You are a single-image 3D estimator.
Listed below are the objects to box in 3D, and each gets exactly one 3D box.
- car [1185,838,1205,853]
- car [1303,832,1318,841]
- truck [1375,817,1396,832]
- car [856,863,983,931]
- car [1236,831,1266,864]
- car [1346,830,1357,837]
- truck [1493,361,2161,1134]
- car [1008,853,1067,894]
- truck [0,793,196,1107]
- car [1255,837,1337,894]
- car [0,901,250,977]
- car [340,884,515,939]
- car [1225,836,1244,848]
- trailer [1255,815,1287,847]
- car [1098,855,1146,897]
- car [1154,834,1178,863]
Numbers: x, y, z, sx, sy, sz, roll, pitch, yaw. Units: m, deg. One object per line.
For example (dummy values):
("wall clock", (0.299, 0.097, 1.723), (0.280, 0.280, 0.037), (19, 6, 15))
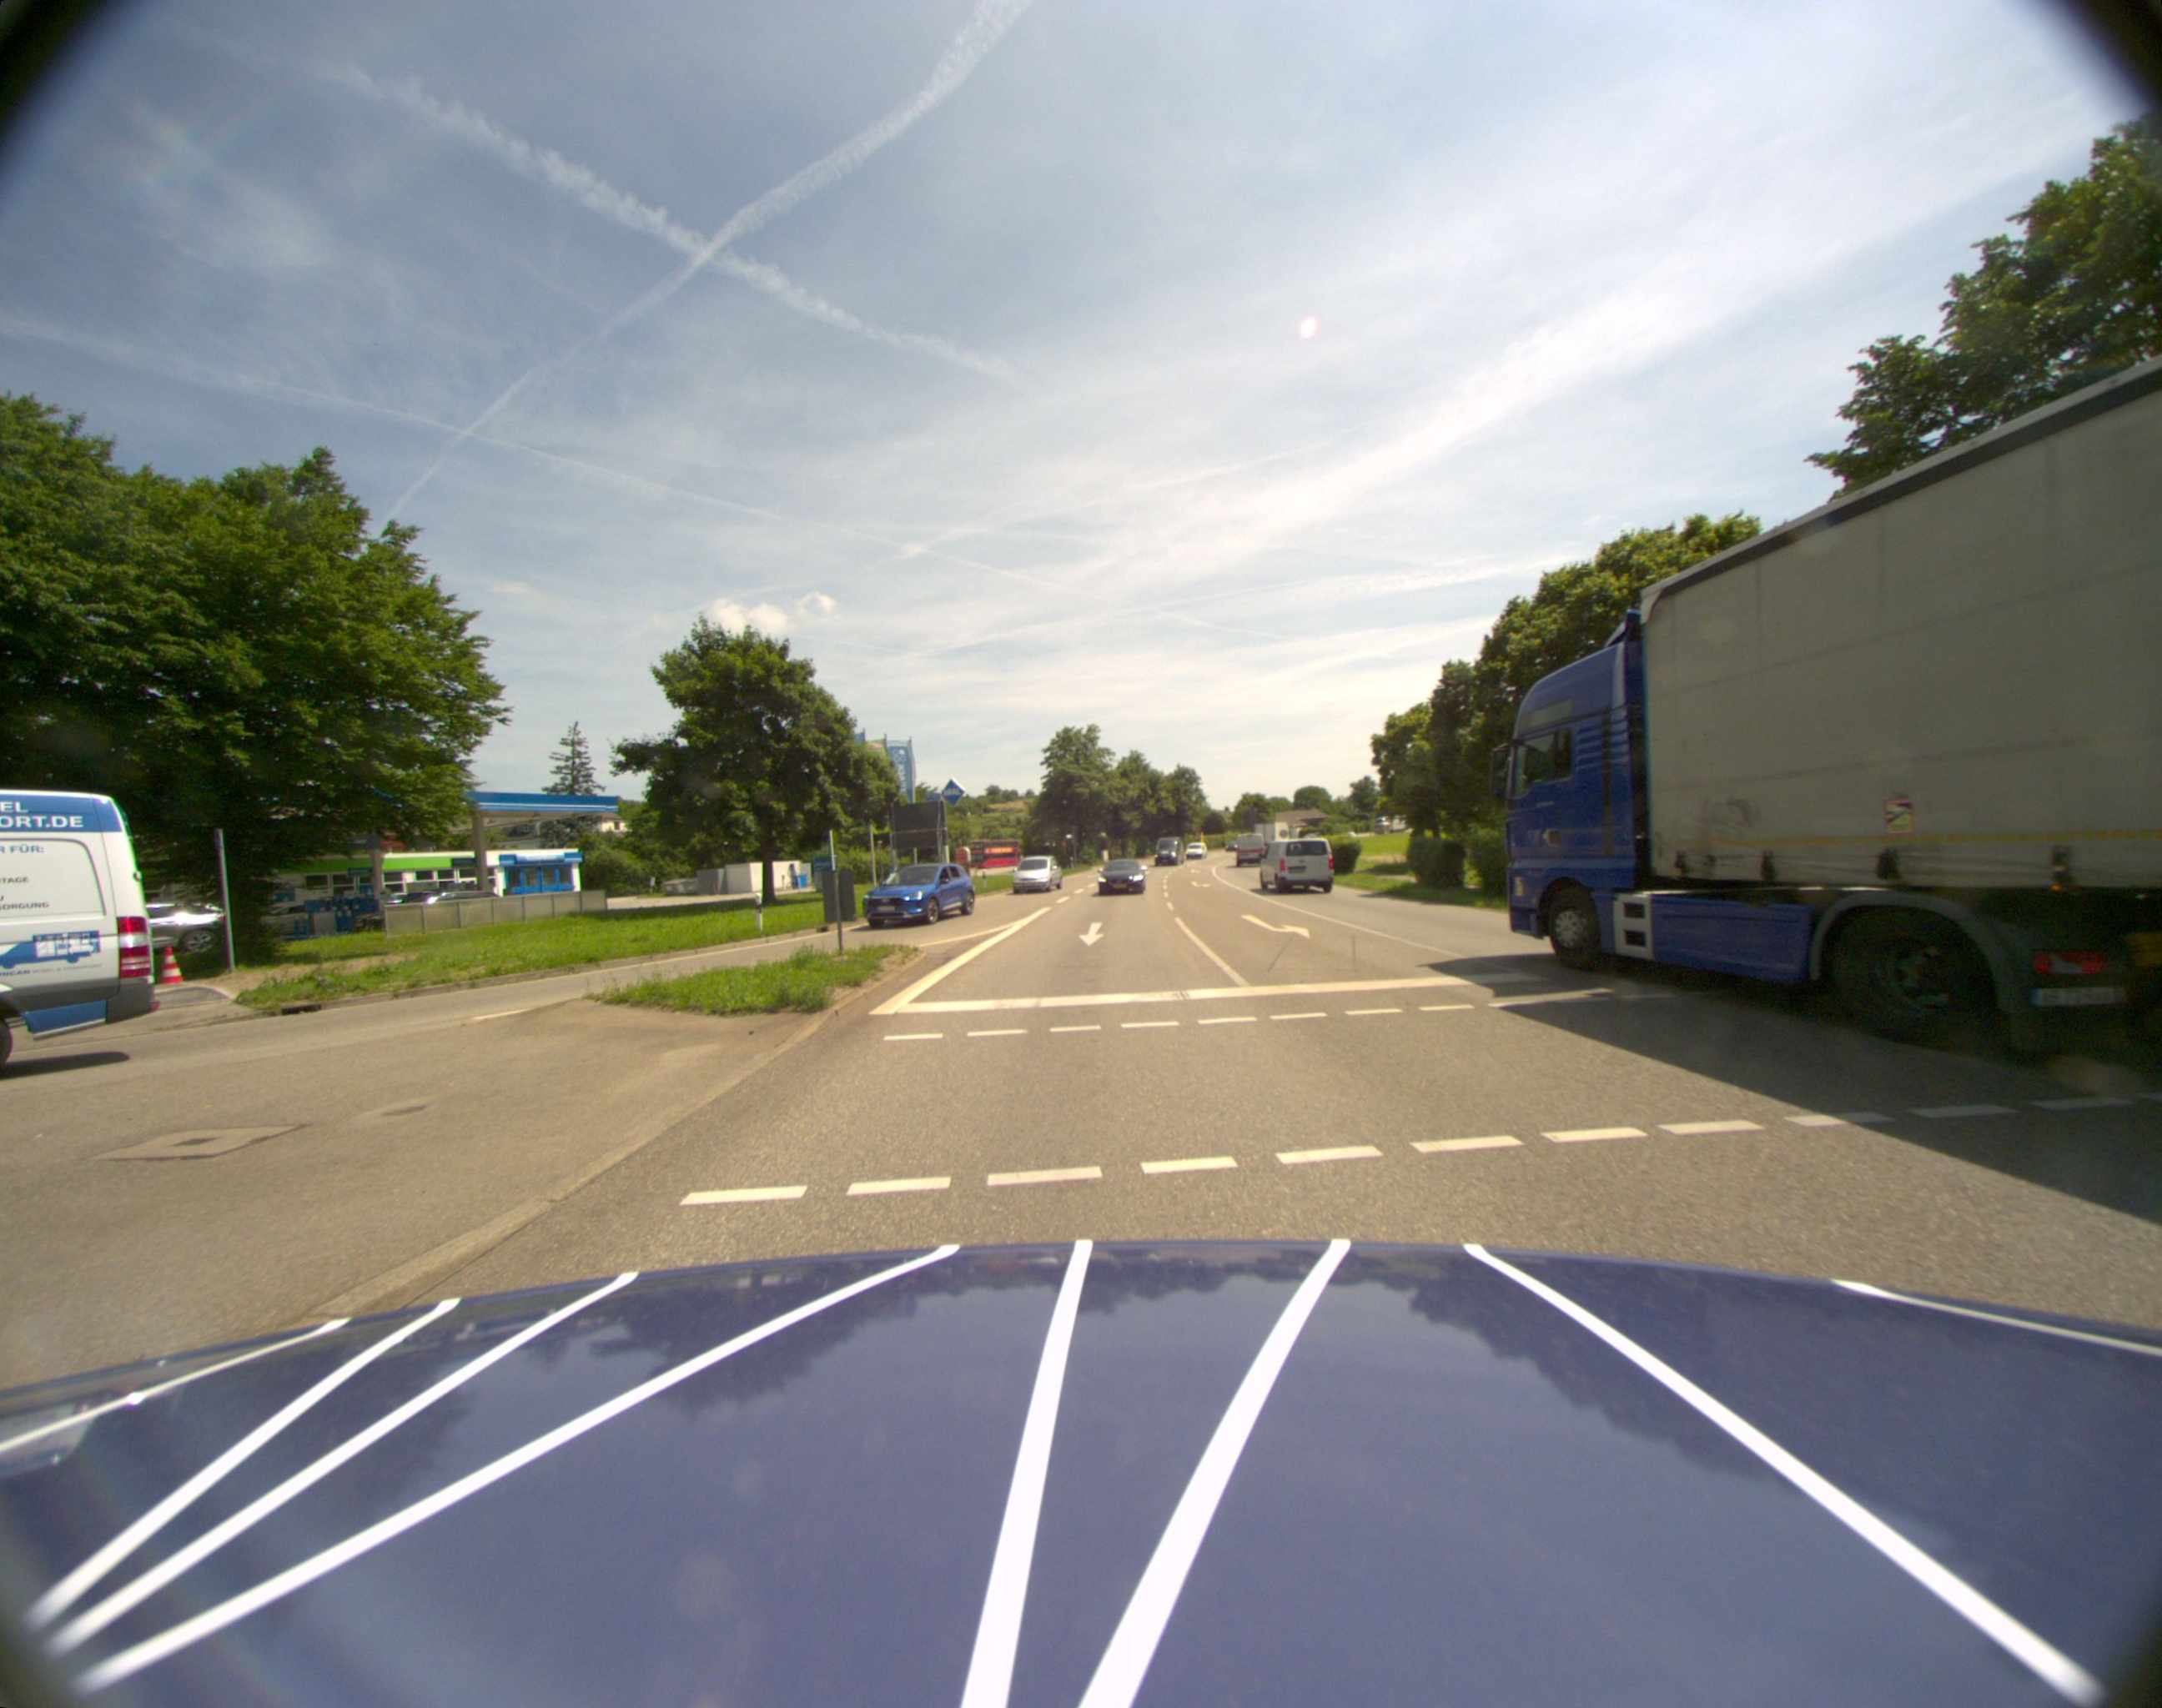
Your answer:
("car", (12.900, -0.983, 85.717), (1.781, 1.484, 4.160), (-2, 2, 13))
("car", (48.809, -3.793, 161.697), (1.806, 1.722, 4.008), (-3, 0, 34))
("truck", (75.101, -7.353, 187.351), (2.970, 3.550, 6.910), (-1, 2, 38))
("car", (-4.520, 1.167, 21.987), (1.781, 1.549, 4.391), (-3, 1, 13))
("car", (13.420, -0.502, 60.378), (2.054, 2.438, 5.272), (-1, 0, 10))
("car", (58.969, -4.469, 165.705), (1.617, 1.454, 3.476), (-2, 2, 32))
("truck", (6.884, -0.560, 6.918), (2.573, 4.006, 6.560), (-2, 0, 0))
("car", (-2.004, 0.873, 36.639), (1.864, 1.682, 4.528), (-2, 1, 9))
("truck", (-11.336, 0.949, 5.626), (2.068, 2.720, 5.954), (-5, -1, 35))
("car", (7.804, 0.366, 28.077), (1.875, 1.875, 4.952), (-2, 1, 4))
("car", (-28.768, 2.434, 22.646), (2.034, 1.594, 4.948), (-2, 2, 28))
("car", (-25.225, 2.157, 29.542), (1.995, 1.612, 4.637), (-2, 2, 28))
("car", (23.000, -1.796, 113.877), (1.806, 1.722, 4.007), (-3, 0, 26))
("trailer", (25.751, -3.105, 102.480), (2.780, 4.079, 11.675), (0, 1, 21))
("car", (1.654, 0.861, 31.582), (1.783, 1.484, 4.158), (-3, 1, 2))
("car", (7.794, -0.525, 69.319), (1.979, 2.505, 4.159), (-2, 2, 7))
